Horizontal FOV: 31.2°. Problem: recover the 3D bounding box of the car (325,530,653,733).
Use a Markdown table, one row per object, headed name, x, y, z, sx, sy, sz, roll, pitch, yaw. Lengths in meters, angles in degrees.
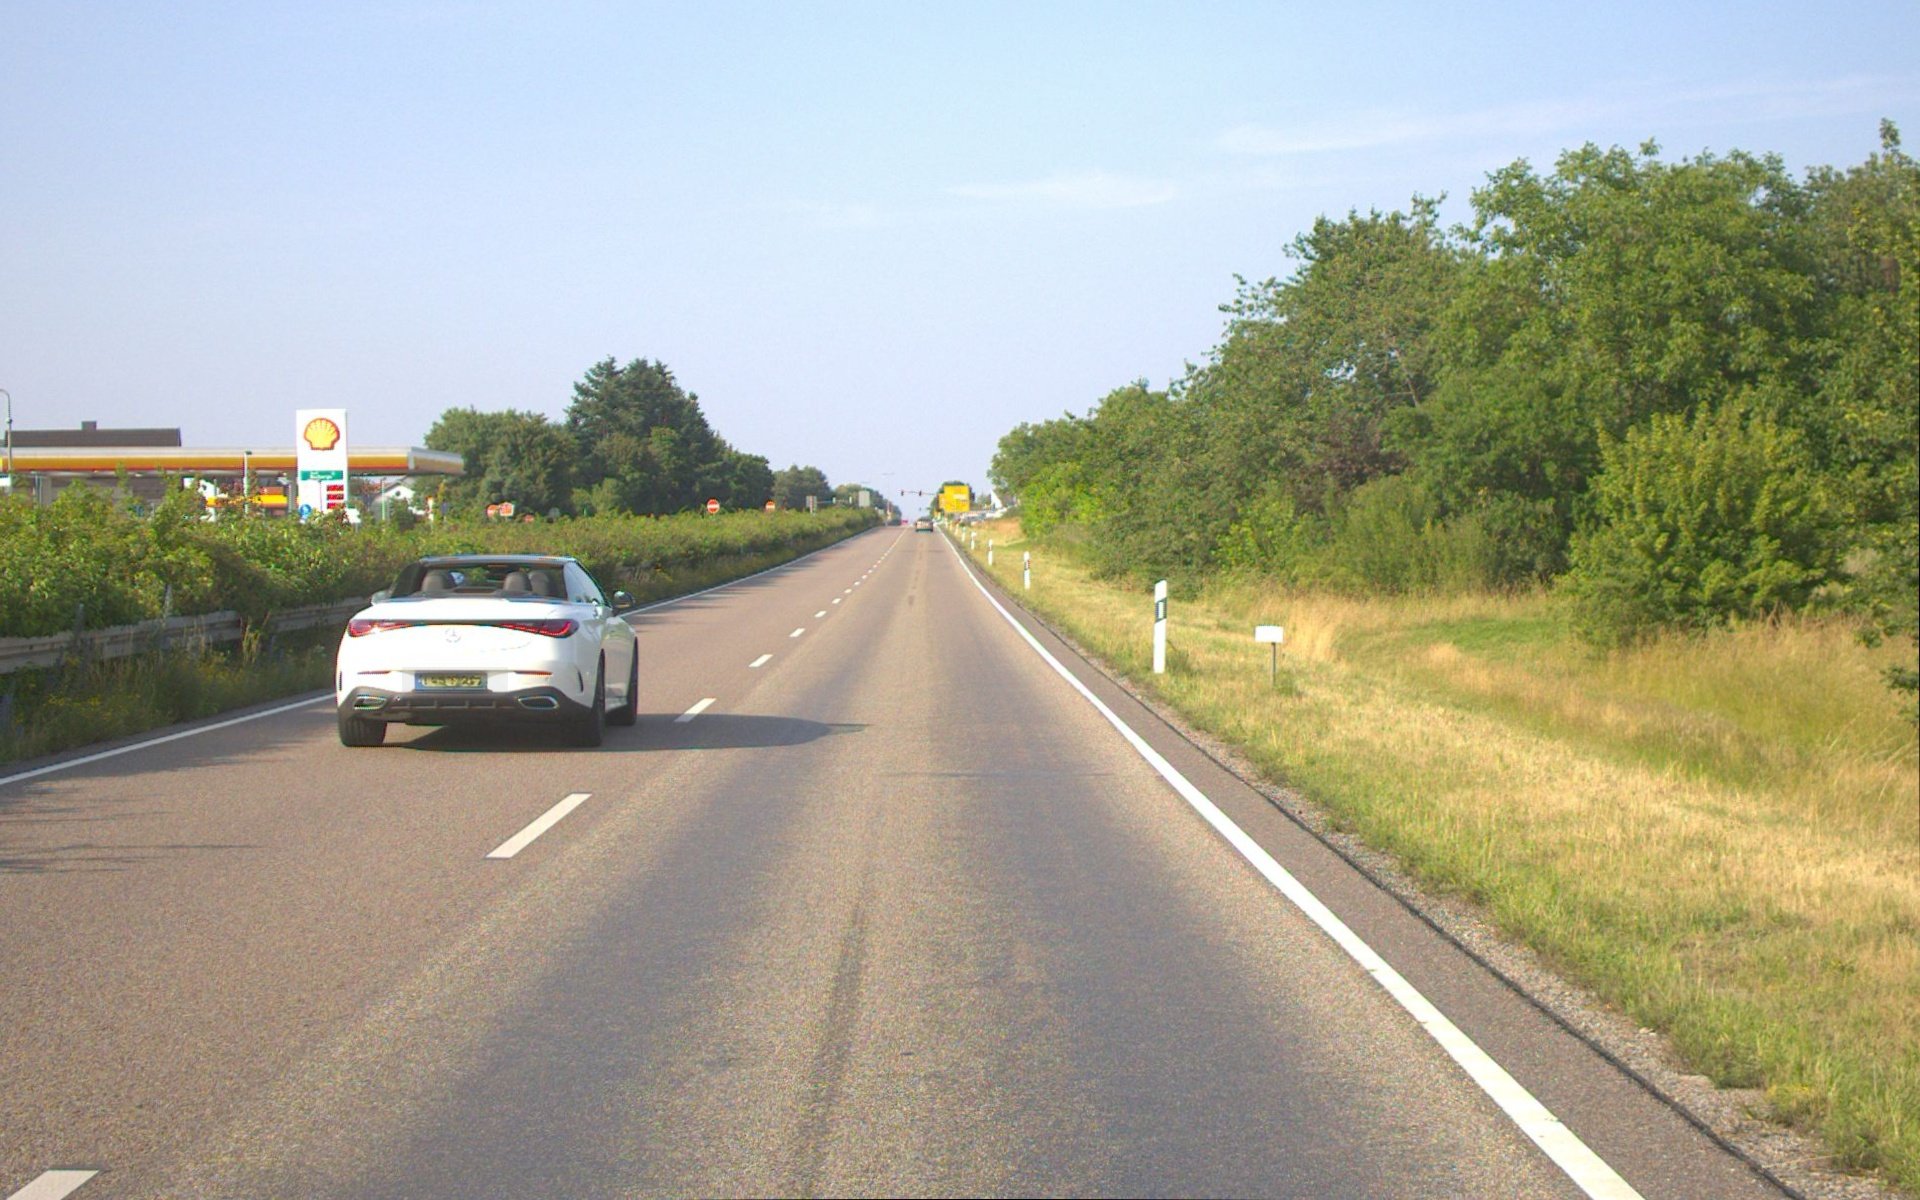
| name | x | y | z | sx | sy | sz | roll | pitch | yaw |
| --- | --- | --- | --- | --- | --- | --- | --- | --- | --- |
| car | -3.398 | 0.164 | 25.665 | 1.771 | 1.333 | 4.950 | 1 | 1 | 0 |
